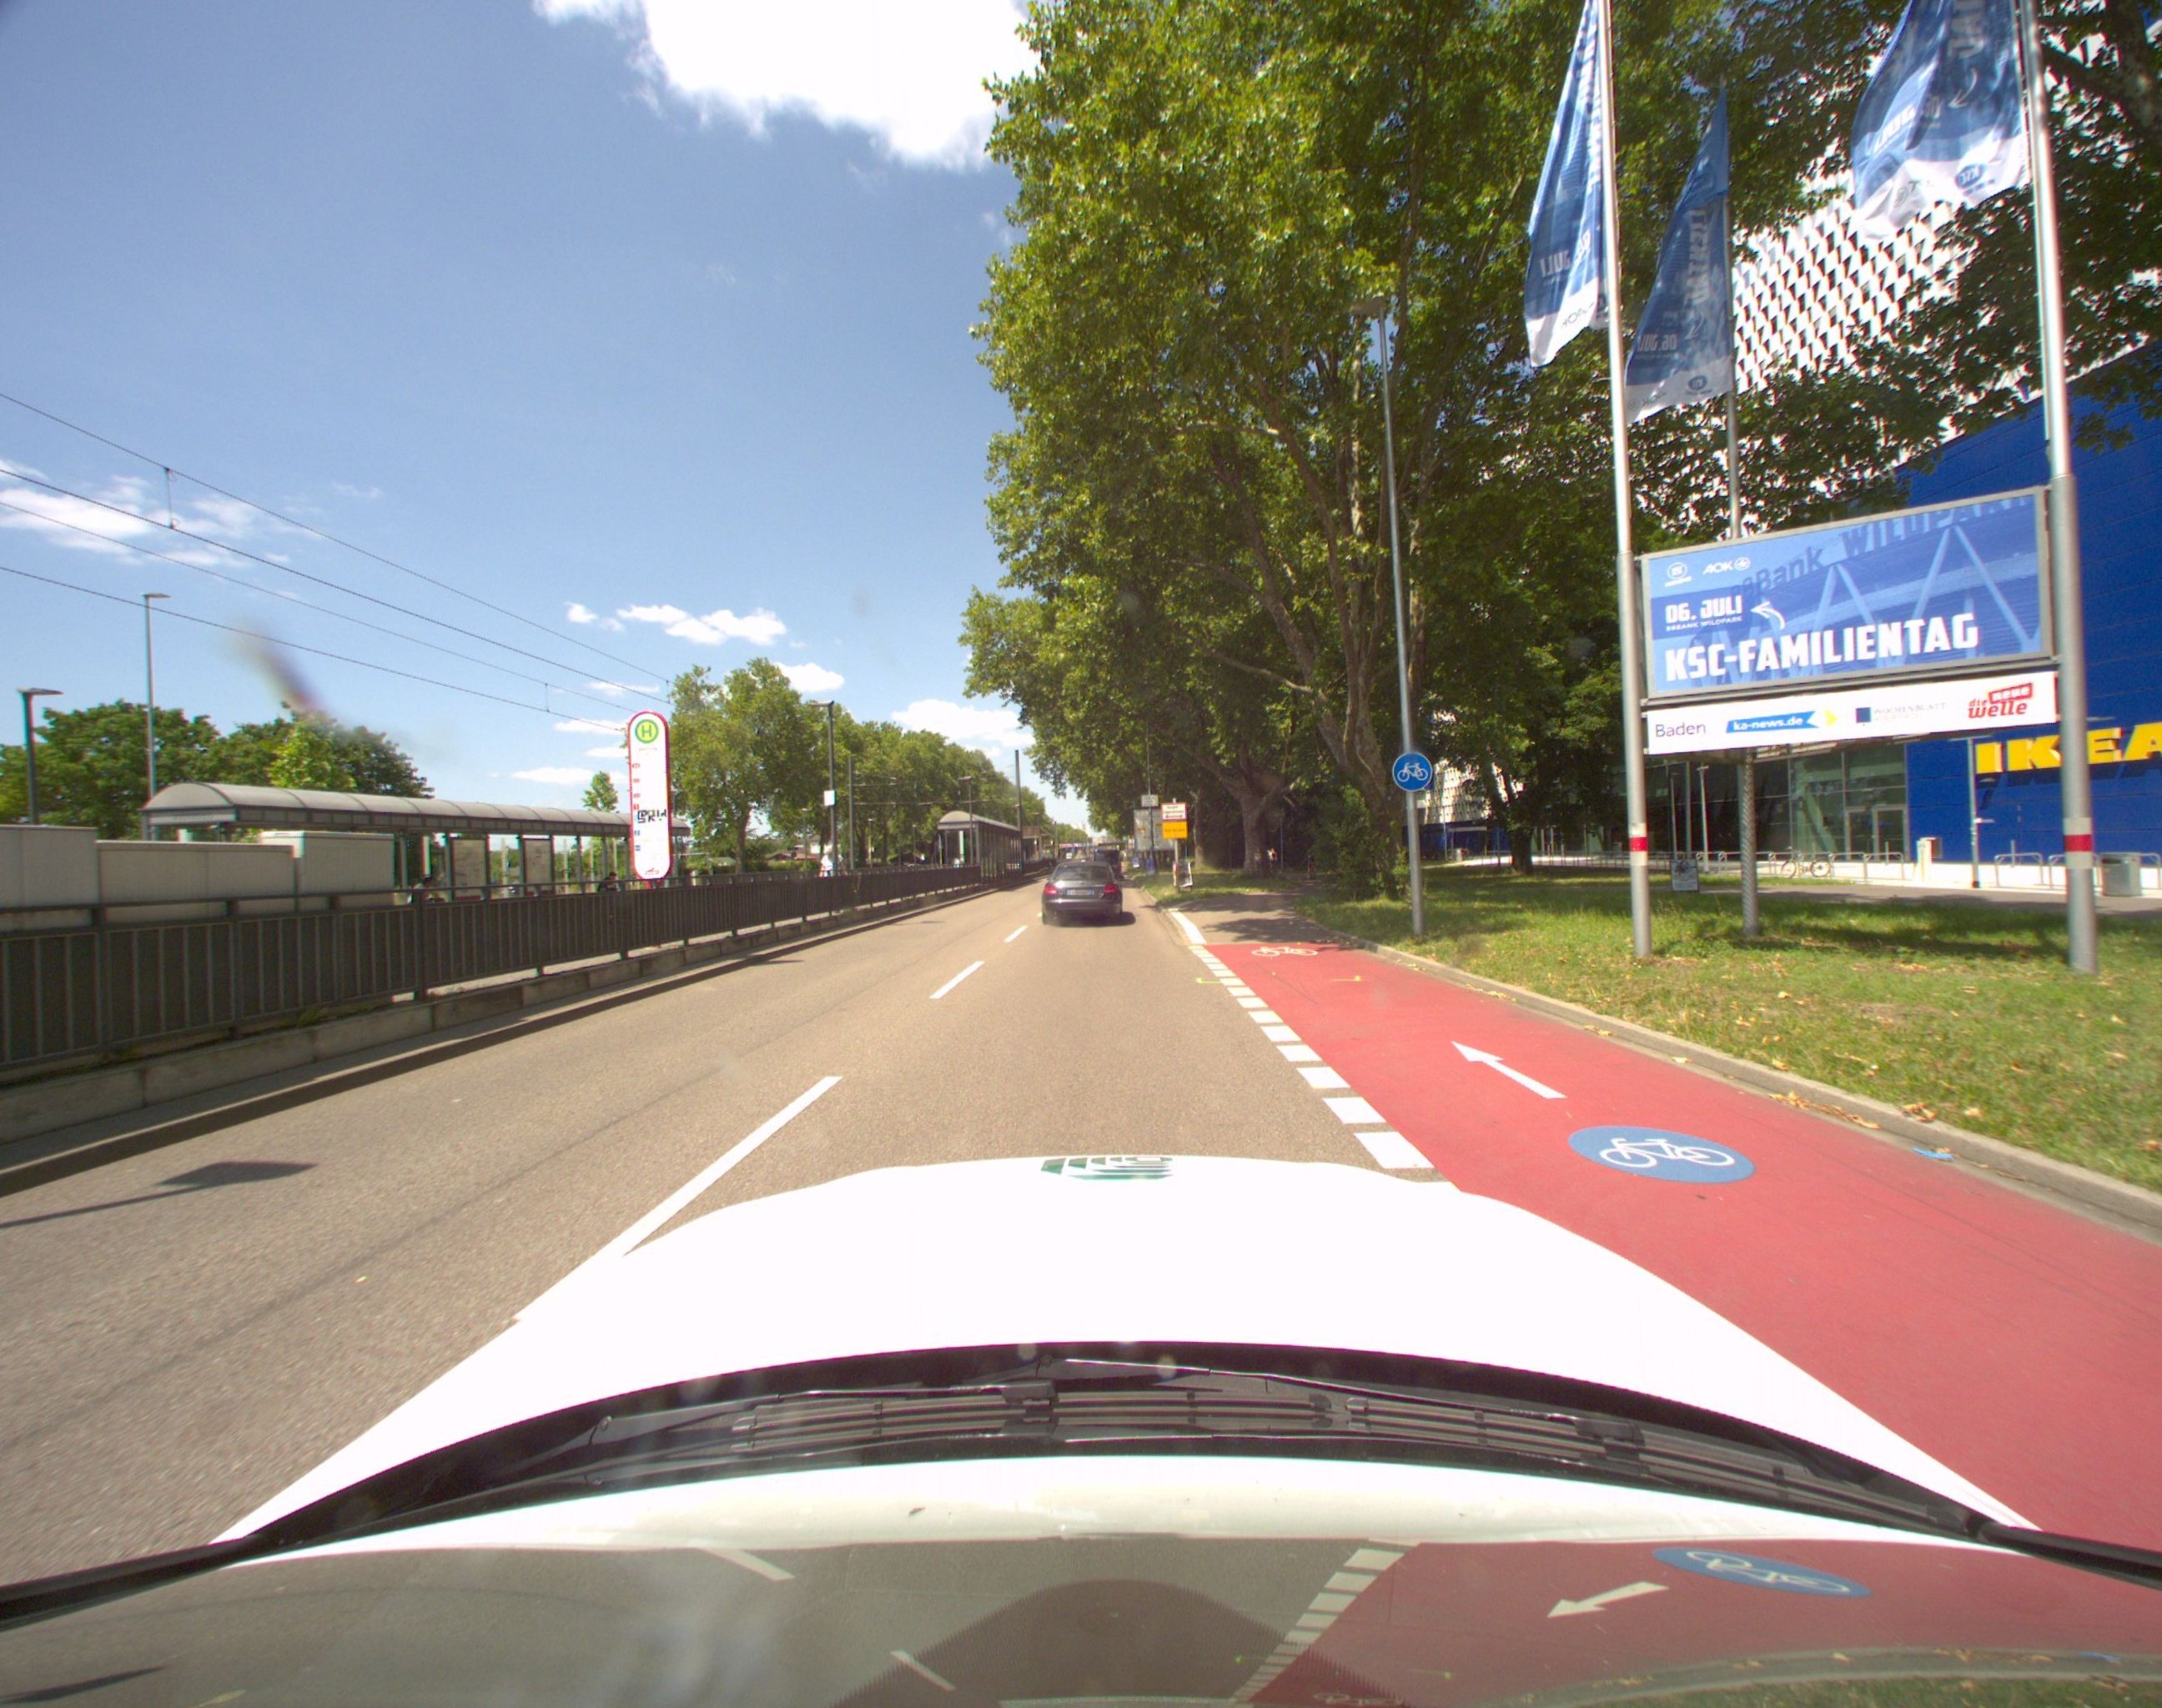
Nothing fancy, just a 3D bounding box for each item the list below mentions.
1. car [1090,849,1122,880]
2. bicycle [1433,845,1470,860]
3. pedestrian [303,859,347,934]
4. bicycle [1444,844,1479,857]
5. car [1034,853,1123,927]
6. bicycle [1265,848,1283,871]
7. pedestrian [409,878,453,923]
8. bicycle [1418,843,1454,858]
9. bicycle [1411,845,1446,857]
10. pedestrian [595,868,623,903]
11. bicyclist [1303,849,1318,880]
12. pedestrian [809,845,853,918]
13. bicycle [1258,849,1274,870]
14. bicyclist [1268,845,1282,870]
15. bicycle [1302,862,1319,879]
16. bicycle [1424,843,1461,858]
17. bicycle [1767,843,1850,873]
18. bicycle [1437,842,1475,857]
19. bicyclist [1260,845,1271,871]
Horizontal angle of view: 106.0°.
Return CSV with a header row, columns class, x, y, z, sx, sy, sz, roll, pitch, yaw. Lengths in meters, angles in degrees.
class,x,y,z,sx,sy,sz,roll,pitch,yaw
car,1.679,0.664,52.841,1.840,1.959,4.149,-1,0,4
bicycle,28.555,-0.103,62.781,2.539,1.110,0.758,-2,0,-3
pedestrian,-17.005,0.939,18.322,0.817,1.638,0.582,-2,0,40
bicycle,28.391,-0.261,60.767,2.310,0.960,0.758,-2,0,-3
car,0.037,0.773,19.493,1.834,1.484,4.004,-2,1,3
bicycle,12.367,0.315,52.239,0.608,1.420,2.663,-2,0,2
pedestrian,-16.730,1.181,20.966,0.574,1.094,0.639,-2,0,3
bicycle,28.345,-0.260,65.096,2.539,1.110,0.758,-2,0,-3
bicycle,28.341,-0.248,66.368,2.539,0.970,0.758,-2,0,-3
pedestrian,-16.545,1.099,28.547,0.574,1.190,0.639,-2,0,3
bicyclist,12.172,0.556,43.212,0.619,1.610,0.819,-2,0,9
pedestrian,-5.841,0.623,19.052,0.730,1.665,0.742,-1,0,1
bicycle,12.824,0.352,56.494,0.608,1.420,2.663,-2,0,2
bicyclist,12.388,0.227,52.109,0.656,1.599,1.054,-2,-1,2
bicycle,12.177,0.868,43.299,0.641,0.887,2.029,-2,0,9
bicycle,28.336,-0.272,63.865,2.539,1.110,0.758,-2,0,-3
bicycle,24.819,0.134,27.800,2.054,0.969,0.868,-2,0,-2
bicycle,28.451,-0.353,61.824,2.539,1.110,0.758,-2,0,-3
bicyclist,12.712,0.293,56.177,0.595,1.746,0.843,-1,0,2
